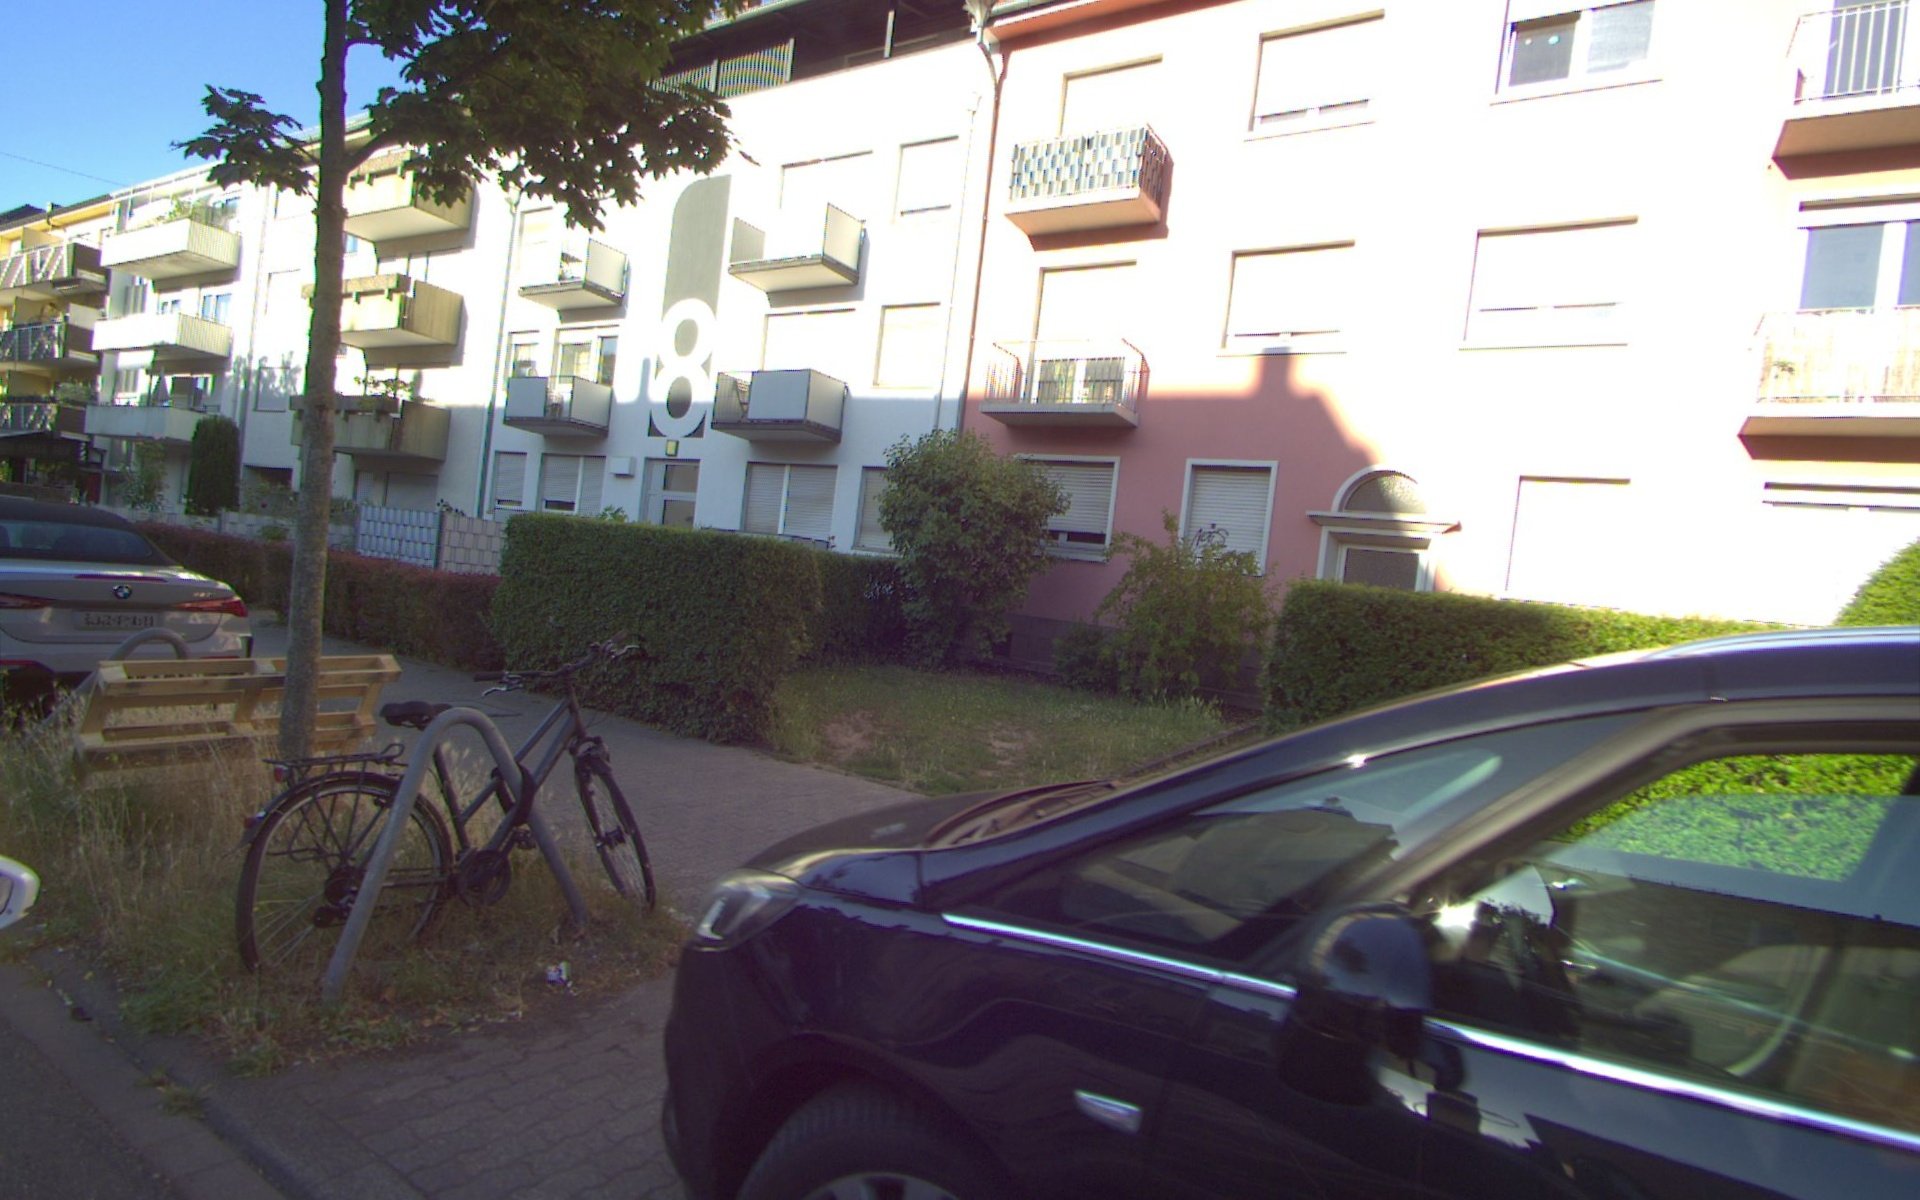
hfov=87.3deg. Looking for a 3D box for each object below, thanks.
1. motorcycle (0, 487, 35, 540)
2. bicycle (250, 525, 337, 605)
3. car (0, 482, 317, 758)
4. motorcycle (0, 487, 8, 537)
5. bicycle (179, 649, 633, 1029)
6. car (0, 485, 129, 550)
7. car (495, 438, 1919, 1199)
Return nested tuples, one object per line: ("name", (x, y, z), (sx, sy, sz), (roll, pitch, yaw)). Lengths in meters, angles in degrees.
("motorcycle", (-31.778, -2.924, 32.802), (0.876, 1.641, 2.193), (8, 1, 39))
("bicycle", (-10.646, -0.563, 16.057), (1.519, 1.103, 0.493), (7, 1, 32))
("car", (-6.969, -0.095, 7.204), (4.664, 1.505, 1.923), (7, 0, 29))
("motorcycle", (-32.735, -3.023, 32.862), (0.720, 1.641, 2.193), (8, 1, 39))
("bicycle", (-1.910, 0.742, 3.718), (0.404, 1.072, 1.481), (7, 0, 20))
("car", (-27.058, -2.475, 29.276), (1.793, 1.480, 3.994), (7, 0, 29))
("car", (1.338, 0.785, 1.671), (4.221, 1.672, 1.734), (7, 1, 33))
